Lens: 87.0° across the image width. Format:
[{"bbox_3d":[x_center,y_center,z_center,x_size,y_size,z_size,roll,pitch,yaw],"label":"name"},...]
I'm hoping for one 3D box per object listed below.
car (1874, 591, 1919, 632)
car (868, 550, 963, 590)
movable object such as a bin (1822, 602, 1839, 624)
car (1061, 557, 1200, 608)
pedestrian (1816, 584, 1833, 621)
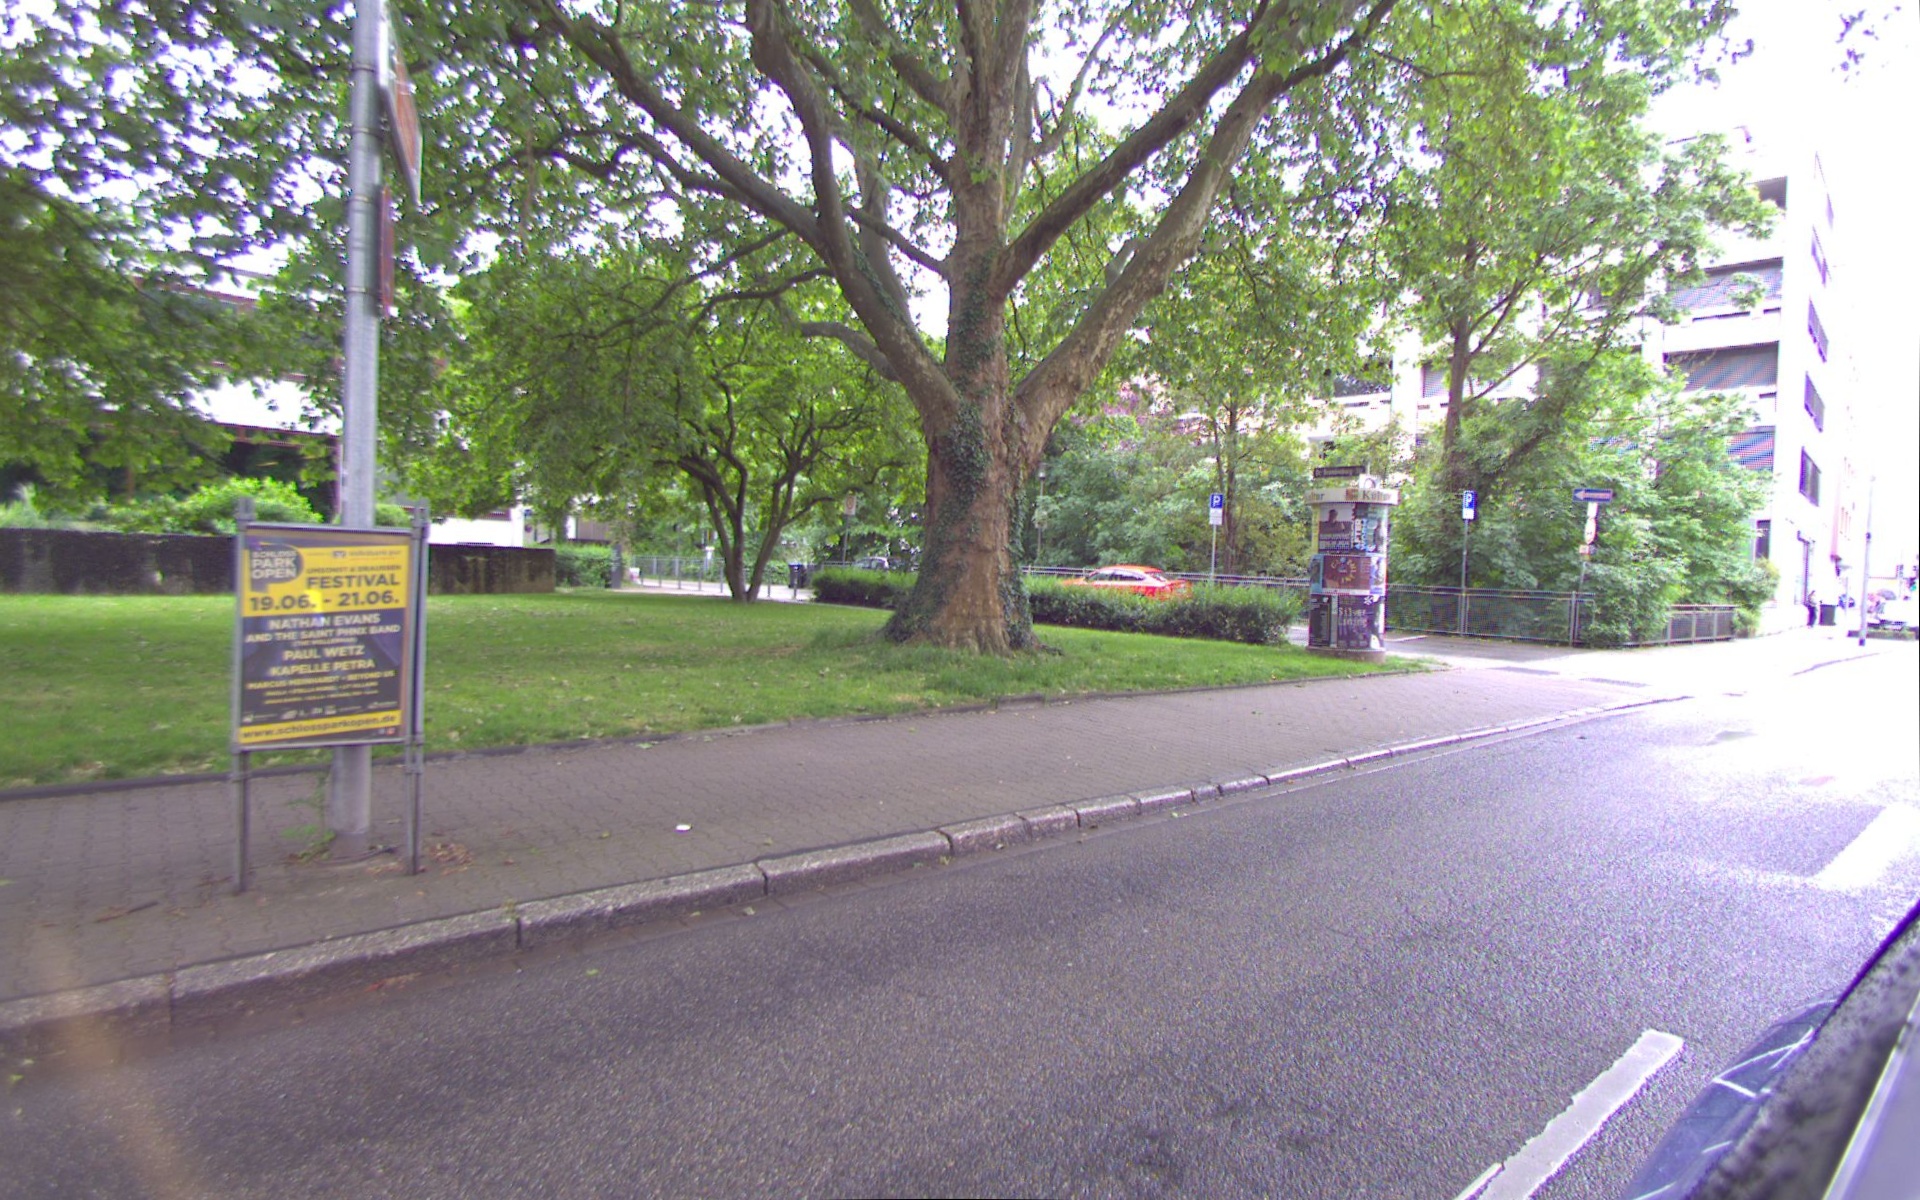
[{"bbox_3d":[37.402,0.453,39.746,3.617,1.449,1.681,0,6,-41],"label":"car"},{"bbox_3d":[-1.645,-1.101,36.529,3.460,1.294,1.426,5,4,45],"label":"car"},{"bbox_3d":[41.908,0.618,48.719,0.287,1.054,0.556,0,3,-41],"label":"movable object such as a bin"},{"bbox_3d":[4.915,-0.541,29.533,1.551,1.294,3.784,-1,4,-44],"label":"car"},{"bbox_3d":[36.344,0.113,42.563,0.473,1.549,0.480,0,0,-41],"label":"pedestrian"}]
